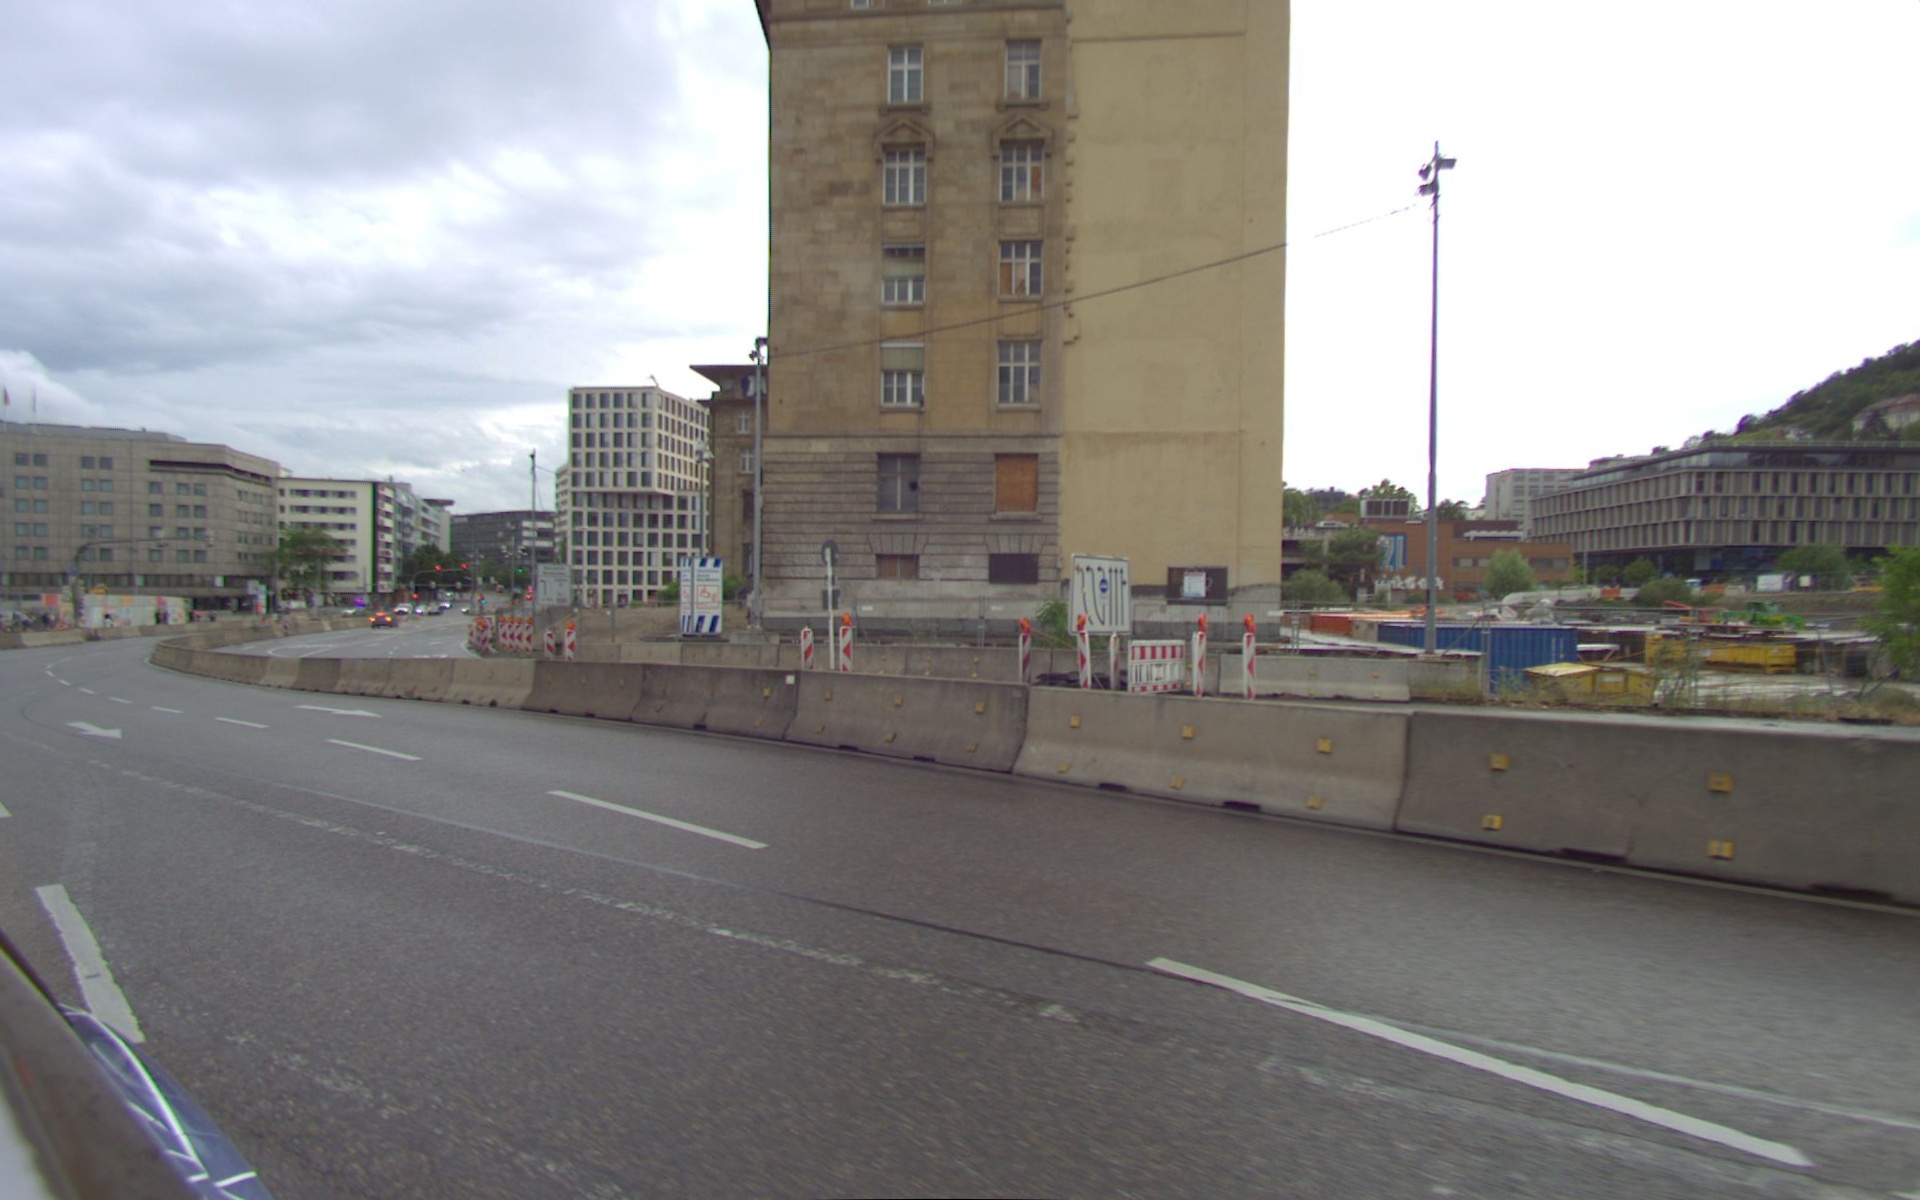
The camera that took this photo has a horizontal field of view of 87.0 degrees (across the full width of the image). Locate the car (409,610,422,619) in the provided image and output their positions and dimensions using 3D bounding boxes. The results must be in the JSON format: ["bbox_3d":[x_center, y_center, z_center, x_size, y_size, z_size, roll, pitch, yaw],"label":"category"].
[{"bbox_3d":[-92.684,2.518,172.305,1.680,1.464,3.808,0,0,-25],"label":"car"}]

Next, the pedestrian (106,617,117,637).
[{"bbox_3d":[-71.290,2.255,85.020,0.638,1.682,0.768,2,-2,-35],"label":"pedestrian"}]

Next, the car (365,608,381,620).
[{"bbox_3d":[-99.477,2.364,171.574,1.965,1.838,4.013,0,0,-25],"label":"car"}]

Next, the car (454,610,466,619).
[{"bbox_3d":[-88.833,2.543,179.889,1.762,1.464,3.684,0,0,-25],"label":"car"}]

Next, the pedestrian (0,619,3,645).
[{"bbox_3d":[-64.112,2.114,67.085,0.644,1.703,0.778,2,-1,-23],"label":"pedestrian"}]

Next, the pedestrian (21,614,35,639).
[{"bbox_3d":[-65.950,1.884,71.596,0.576,1.721,0.679,2,-2,-35],"label":"pedestrian"}]

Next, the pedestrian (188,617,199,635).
[{"bbox_3d":[-77.323,2.581,102.105,0.745,1.774,0.768,2,-2,-35],"label":"pedestrian"}]

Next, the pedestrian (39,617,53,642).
[{"bbox_3d":[-67.060,2.164,74.216,0.638,1.774,0.585,2,-2,-35],"label":"pedestrian"}]

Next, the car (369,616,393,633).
[{"bbox_3d":[-54.936,2.329,96.023,1.741,1.533,4.401,0,0,-27],"label":"car"}]

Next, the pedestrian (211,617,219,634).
[{"bbox_3d":[-79.984,2.734,108.605,0.643,1.774,0.550,2,-2,-35],"label":"pedestrian"}]

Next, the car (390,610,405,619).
[{"bbox_3d":[-96.751,2.541,174.129,1.965,1.464,4.013,0,0,-25],"label":"car"}]

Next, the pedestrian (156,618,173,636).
[{"bbox_3d":[-77.364,2.622,98.422,1.081,1.774,0.909,2,-1,-20],"label":"pedestrian"}]
